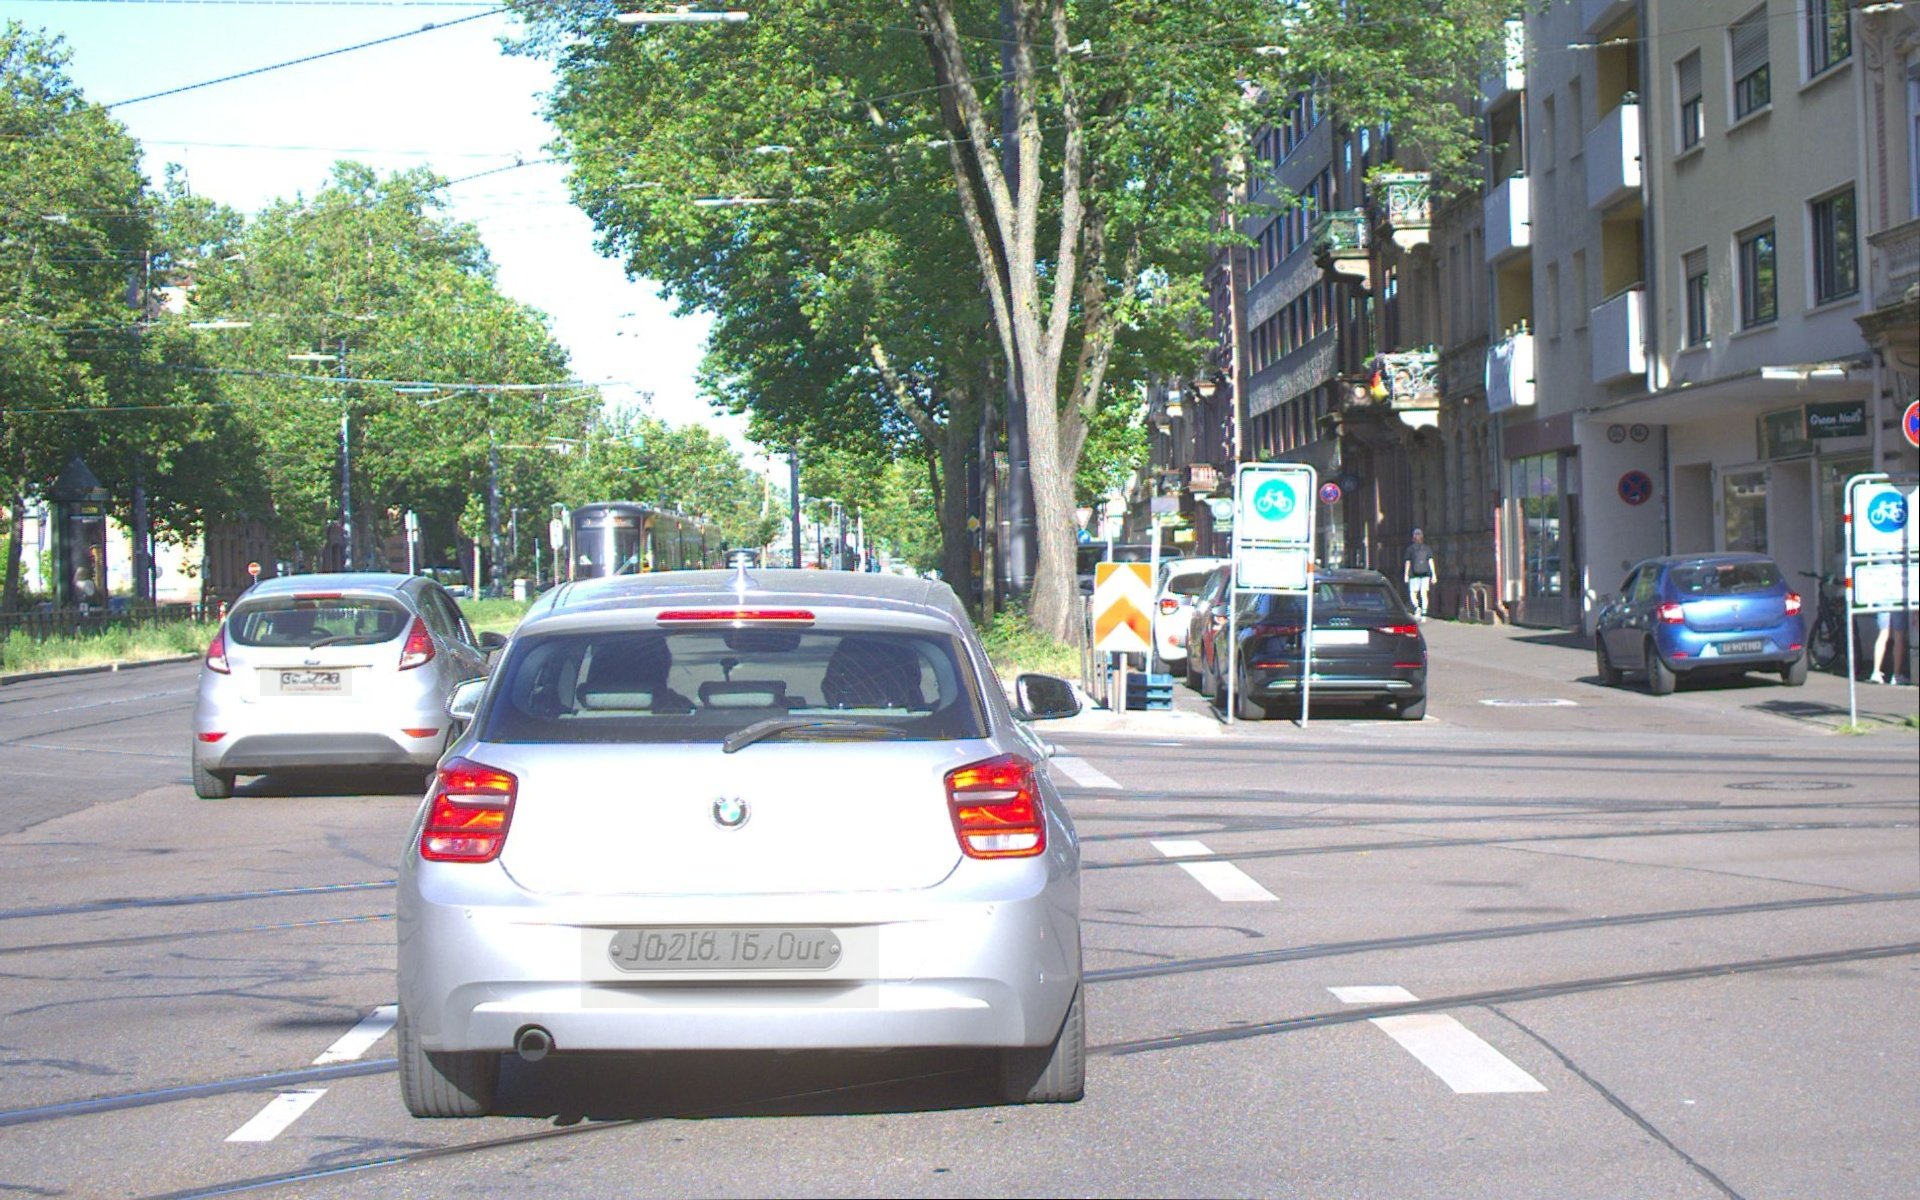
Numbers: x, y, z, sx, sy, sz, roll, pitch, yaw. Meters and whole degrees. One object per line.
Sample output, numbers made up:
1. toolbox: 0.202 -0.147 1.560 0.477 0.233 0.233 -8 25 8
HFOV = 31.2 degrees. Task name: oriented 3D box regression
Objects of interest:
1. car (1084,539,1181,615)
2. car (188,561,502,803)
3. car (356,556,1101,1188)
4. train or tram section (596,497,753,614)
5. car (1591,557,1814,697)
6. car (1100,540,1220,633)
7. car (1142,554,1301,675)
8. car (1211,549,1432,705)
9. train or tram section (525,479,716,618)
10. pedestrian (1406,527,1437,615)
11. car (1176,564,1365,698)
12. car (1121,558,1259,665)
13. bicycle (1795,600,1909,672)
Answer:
1. car: 3.488 -0.472 69.897 1.724 1.502 3.555 0 1 -1
2. car: -4.084 0.488 23.347 1.609 1.462 3.890 -1 1 -3
3. car: -0.541 0.613 10.088 1.740 1.462 4.000 1 1 0
4. train or tram section: -10.022 -1.605 123.173 4.005 3.852 17.489 -1 1 0
5. car: 8.426 0.271 39.277 1.735 1.514 3.636 0 1 0
6. car: 3.301 -0.241 57.387 1.724 1.502 3.555 0 1 -1
7. car: 3.352 0.158 44.576 1.724 1.502 3.555 0 1 -1
8. car: 3.466 0.220 33.499 1.735 1.428 3.678 0 1 0
9. train or tram section: -10.200 -1.583 105.740 3.969 3.852 17.489 -1 1 0
10. pedestrian: 9.471 -0.595 70.548 0.505 1.795 0.805 -1 1 0
11. car: 3.460 0.314 38.825 1.743 1.428 3.555 0 1 -1
12. car: 3.355 0.141 50.682 1.724 1.502 3.555 0 1 -1
13. bicycle: 10.222 0.405 39.456 0.754 0.768 1.945 -1 1 -1
